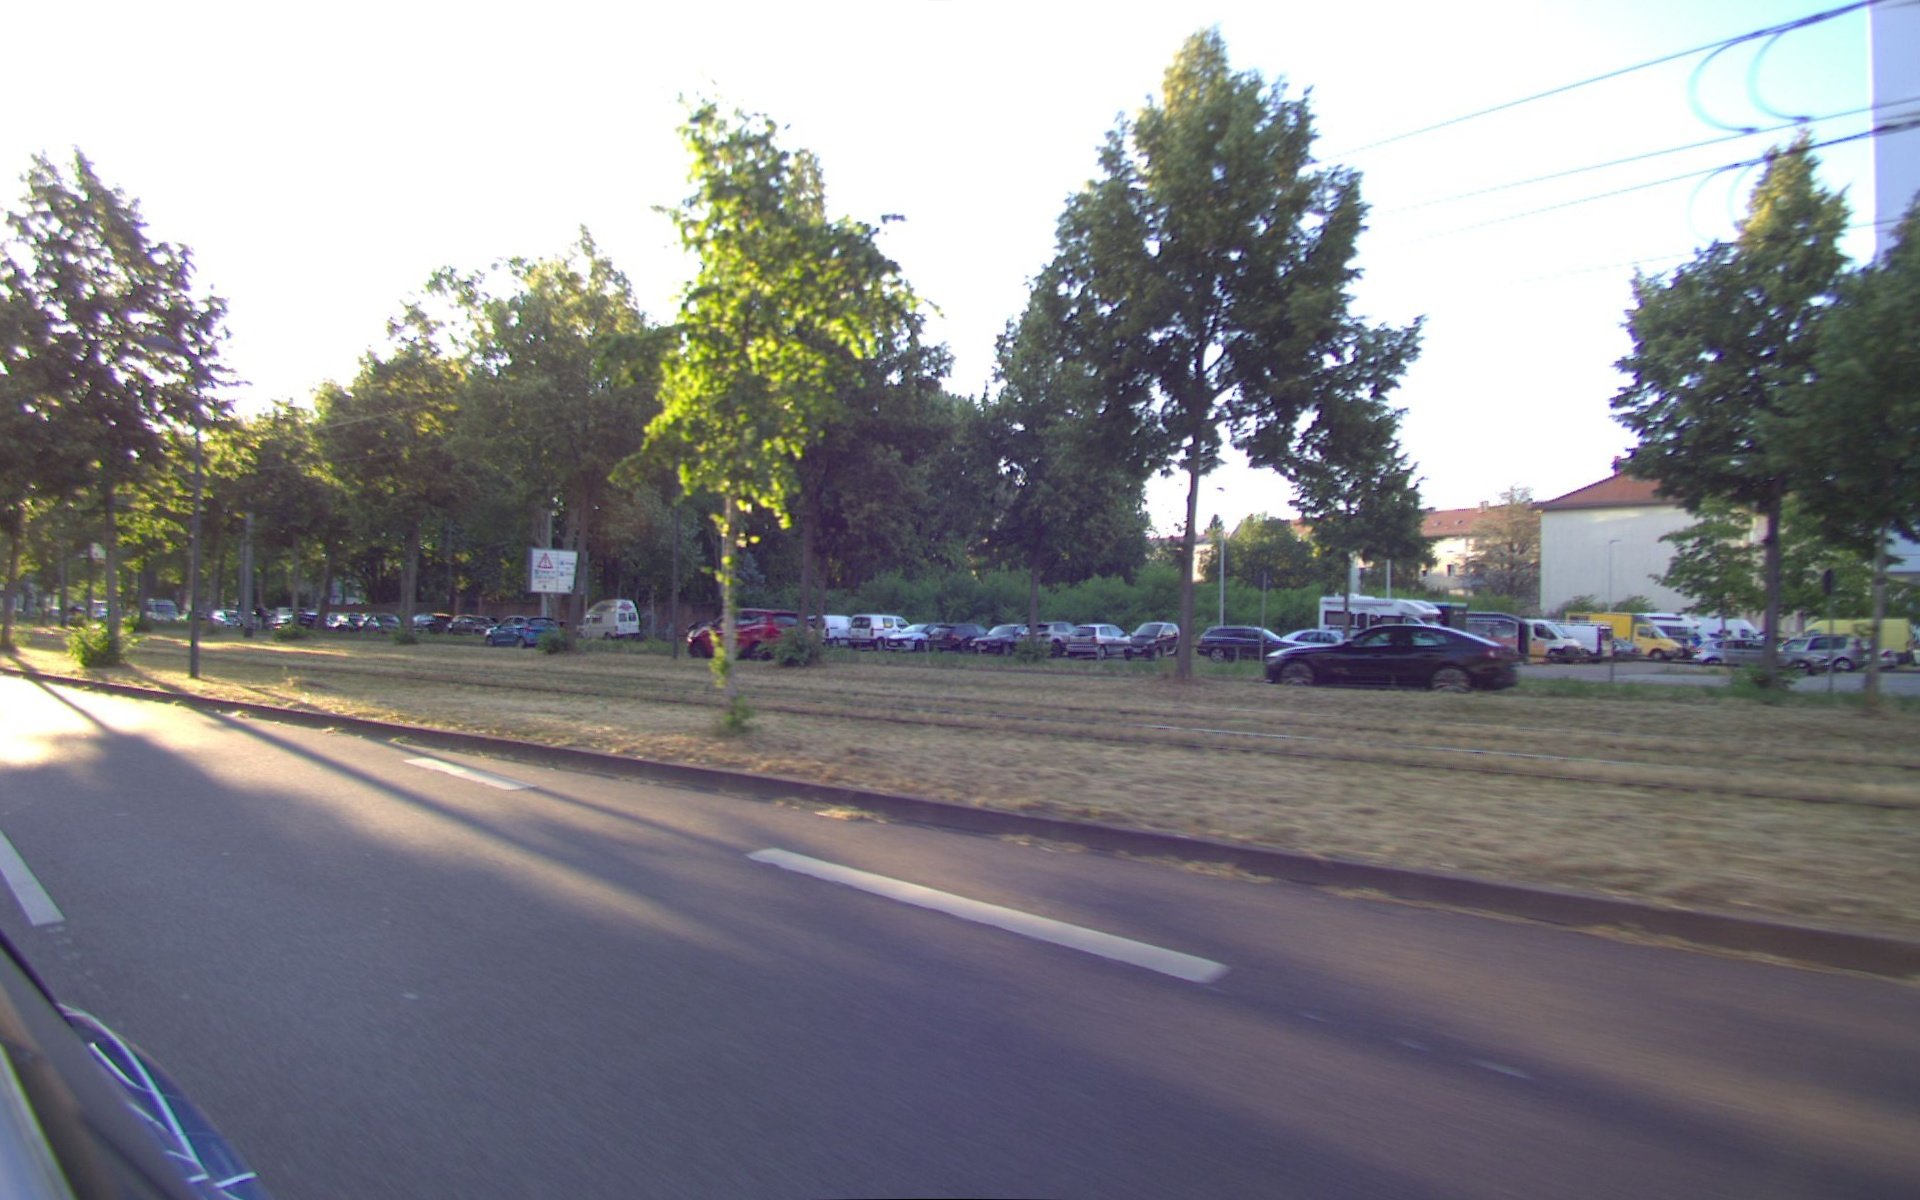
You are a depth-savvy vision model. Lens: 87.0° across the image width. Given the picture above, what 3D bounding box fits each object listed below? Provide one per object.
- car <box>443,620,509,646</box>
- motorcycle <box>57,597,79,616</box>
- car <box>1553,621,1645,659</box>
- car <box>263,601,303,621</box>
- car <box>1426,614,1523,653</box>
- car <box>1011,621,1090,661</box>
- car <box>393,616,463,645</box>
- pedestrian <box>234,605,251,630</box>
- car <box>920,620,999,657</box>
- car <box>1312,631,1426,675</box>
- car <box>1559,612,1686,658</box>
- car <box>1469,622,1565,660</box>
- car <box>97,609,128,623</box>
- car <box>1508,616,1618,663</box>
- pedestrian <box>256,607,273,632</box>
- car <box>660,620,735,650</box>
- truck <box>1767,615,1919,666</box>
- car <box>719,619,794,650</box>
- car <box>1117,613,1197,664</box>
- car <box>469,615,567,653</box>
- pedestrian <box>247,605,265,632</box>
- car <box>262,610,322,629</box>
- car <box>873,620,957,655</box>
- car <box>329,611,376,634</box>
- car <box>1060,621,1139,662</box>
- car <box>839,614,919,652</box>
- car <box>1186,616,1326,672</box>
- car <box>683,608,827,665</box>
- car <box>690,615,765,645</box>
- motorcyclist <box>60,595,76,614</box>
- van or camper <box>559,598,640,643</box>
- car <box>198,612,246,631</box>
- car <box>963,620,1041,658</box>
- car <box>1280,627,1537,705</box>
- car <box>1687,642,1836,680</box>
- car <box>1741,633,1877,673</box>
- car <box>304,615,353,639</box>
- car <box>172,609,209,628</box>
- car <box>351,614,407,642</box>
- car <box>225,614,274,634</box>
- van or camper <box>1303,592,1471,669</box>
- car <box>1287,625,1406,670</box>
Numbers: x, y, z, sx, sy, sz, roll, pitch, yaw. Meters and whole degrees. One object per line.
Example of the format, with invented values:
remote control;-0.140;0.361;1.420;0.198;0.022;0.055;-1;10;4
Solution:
car;-29.652;2.005;61.953;3.993;1.497;1.975;0;-2;36
motorcycle;-65.052;0.452;73.781;2.340;1.347;0.676;0;-2;35
car;35.839;2.196;56.846;1.970;2.029;4.004;2;-2;-43
car;-68.352;1.125;102.172;5.053;2.029;1.974;-1;-2;39
car;25.570;1.640;50.371;3.996;1.825;1.897;-1;-2;39
car;4.041;1.788;44.853;1.916;1.652;3.956;0;-2;32
car;-34.002;1.905;64.644;4.780;1.763;1.976;0;-2;35
pedestrian;-51.259;1.268;72.285;0.864;1.756;0.687;0;-2;34
car;0.018;1.802;47.829;1.916;1.652;3.956;0;-2;32
car;16.828;2.133;41.718;3.996;1.652;1.897;-1;-2;40
car;39.754;2.036;60.863;1.968;2.616;6.101;2;-2;-40
car;28.280;2.036;51.440;3.996;1.825;1.897;-1;-2;39
car;-93.575;1.757;111.693;4.047;1.543;1.793;-1;-2;38
car;31.418;2.011;52.797;2.075;2.325;4.511;2;-2;-42
pedestrian;-50.116;1.394;72.945;0.862;1.772;0.688;0;-2;28
car;-15.414;2.038;59.571;1.919;1.652;3.949;-1;-2;38
truck;43.690;1.960;50.166;1.970;2.400;5.578;2;-2;-43
car;-11.317;1.891;56.436;1.916;1.652;3.956;0;-2;32
car;8.311;1.578;42.377;1.994;2.029;3.956;0;-2;32
car;-18.914;1.422;43.246;4.278;1.519;1.901;0;-2;36
pedestrian;-50.023;1.331;71.948;0.862;1.884;0.688;0;-2;28
car;-48.215;1.422;73.028;5.133;1.325;1.975;0;-2;37
car;-2.163;1.835;49.687;1.922;1.652;3.943;-1;-2;42
car;-42.889;1.609;71.404;3.836;1.572;1.784;0;-2;41
car;6.012;1.755;43.246;1.916;1.652;3.956;0;-2;32
car;-4.091;1.672;51.845;2.008;1.858;3.951;-1;-2;36
car;11.591;1.678;39.741;4.921;2.029;1.976;0;-2;36
car;-6.195;1.073;30.397;4.172;1.590;1.869;0;-2;35
car;-13.387;1.744;58.394;1.919;1.652;3.950;-1;-2;37
motorcyclist;-64.944;0.317;73.704;0.803;1.386;0.675;0;-2;35
van or camper;-23.191;1.286;64.982;5.481;2.756;2.067;0;-2;35
car;-60.909;1.756;83.493;4.549;1.510;1.975;0;-2;37
car;1.973;1.759;46.456;1.916;1.652;3.956;0;-2;32
car;8.839;1.244;20.096;4.463;1.342;1.643;0;-2;35
car;30.697;2.307;38.841;1.718;1.270;4.257;2;-2;-41
car;36.538;2.242;43.628;1.742;1.601;4.283;2;-2;-42
car;-47.223;2.011;75.608;4.158;1.763;1.973;0;-2;41
car;-69.229;1.640;91.015;4.000;1.652;1.972;-1;-2;43
car;-38.850;1.848;67.650;4.158;1.763;1.973;0;-2;41
car;-56.219;1.875;80.045;4.299;1.511;1.882;0;-2;37
van or camper;18.517;1.278;44.061;6.257;3.109;2.683;-1;-1;40
car;15.219;1.831;39.943;3.996;1.652;1.897;-1;-2;40
